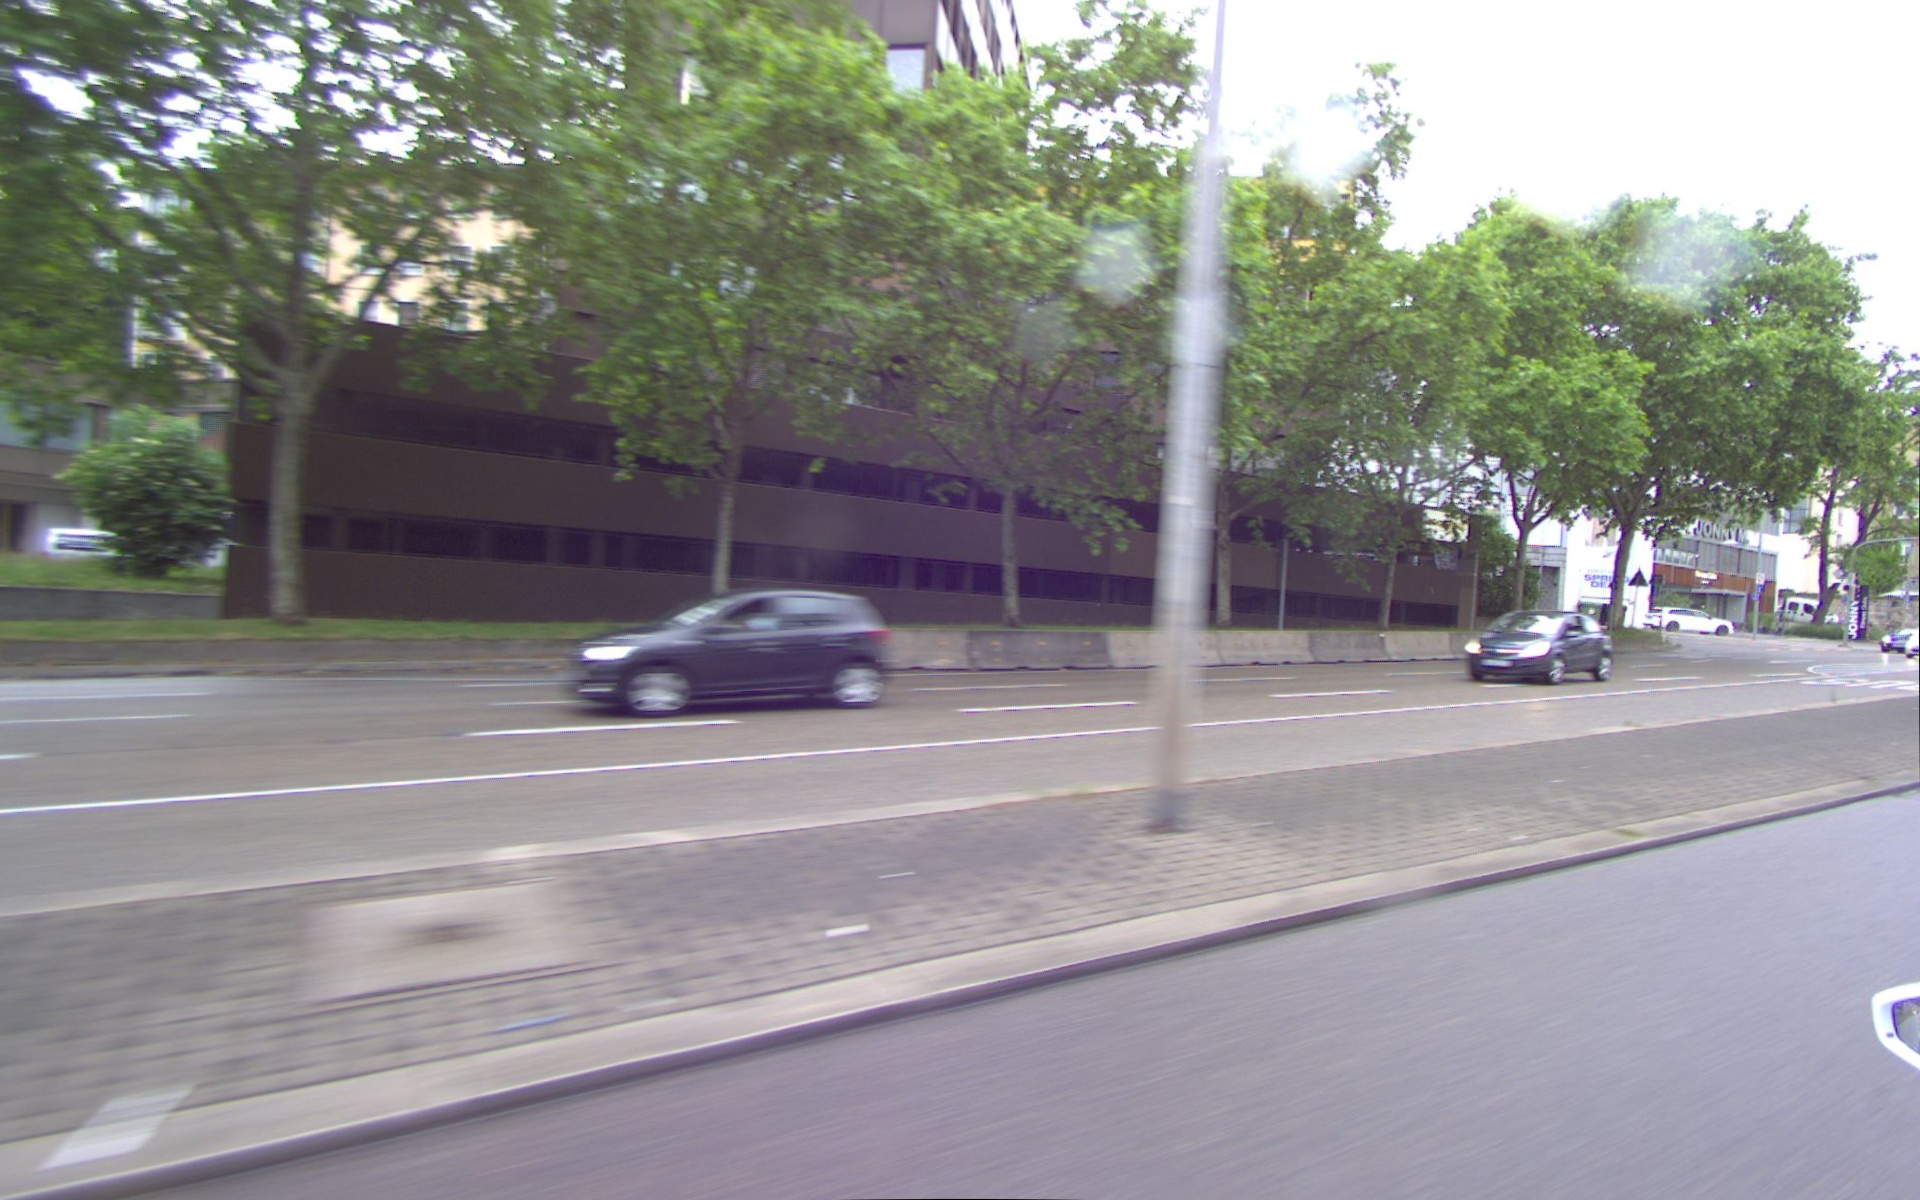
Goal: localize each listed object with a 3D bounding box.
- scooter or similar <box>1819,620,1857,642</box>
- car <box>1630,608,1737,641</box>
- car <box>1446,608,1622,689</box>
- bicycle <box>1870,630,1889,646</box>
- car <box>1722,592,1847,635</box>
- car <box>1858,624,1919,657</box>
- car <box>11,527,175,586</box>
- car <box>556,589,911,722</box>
[{"bbox_3d":[57.254,2.001,65.497,1.724,1.263,0.369,6,2,29],"label":"scooter or similar"},{"bbox_3d":[43.102,1.449,59.916,4.745,1.676,2.001,2,2,7],"label":"car"},{"bbox_3d":[12.246,0.952,21.356,4.138,1.520,1.918,0,0,-40],"label":"car"},{"bbox_3d":[61.533,2.552,67.233,1.739,1.004,0.454,3,1,-32],"label":"bicycle"},{"bbox_3d":[64.013,0.979,78.168,2.484,2.307,6.866,-1,9,-30],"label":"car"},{"bbox_3d":[47.446,2.049,51.075,4.129,1.539,1.742,2,0,-35],"label":"car"},{"bbox_3d":[-29.177,-1.408,33.986,3.961,1.740,1.980,2,0,-36],"label":"car"},{"bbox_3d":[-2.852,0.630,12.895,4.033,1.456,1.921,1,0,-34],"label":"car"}]
